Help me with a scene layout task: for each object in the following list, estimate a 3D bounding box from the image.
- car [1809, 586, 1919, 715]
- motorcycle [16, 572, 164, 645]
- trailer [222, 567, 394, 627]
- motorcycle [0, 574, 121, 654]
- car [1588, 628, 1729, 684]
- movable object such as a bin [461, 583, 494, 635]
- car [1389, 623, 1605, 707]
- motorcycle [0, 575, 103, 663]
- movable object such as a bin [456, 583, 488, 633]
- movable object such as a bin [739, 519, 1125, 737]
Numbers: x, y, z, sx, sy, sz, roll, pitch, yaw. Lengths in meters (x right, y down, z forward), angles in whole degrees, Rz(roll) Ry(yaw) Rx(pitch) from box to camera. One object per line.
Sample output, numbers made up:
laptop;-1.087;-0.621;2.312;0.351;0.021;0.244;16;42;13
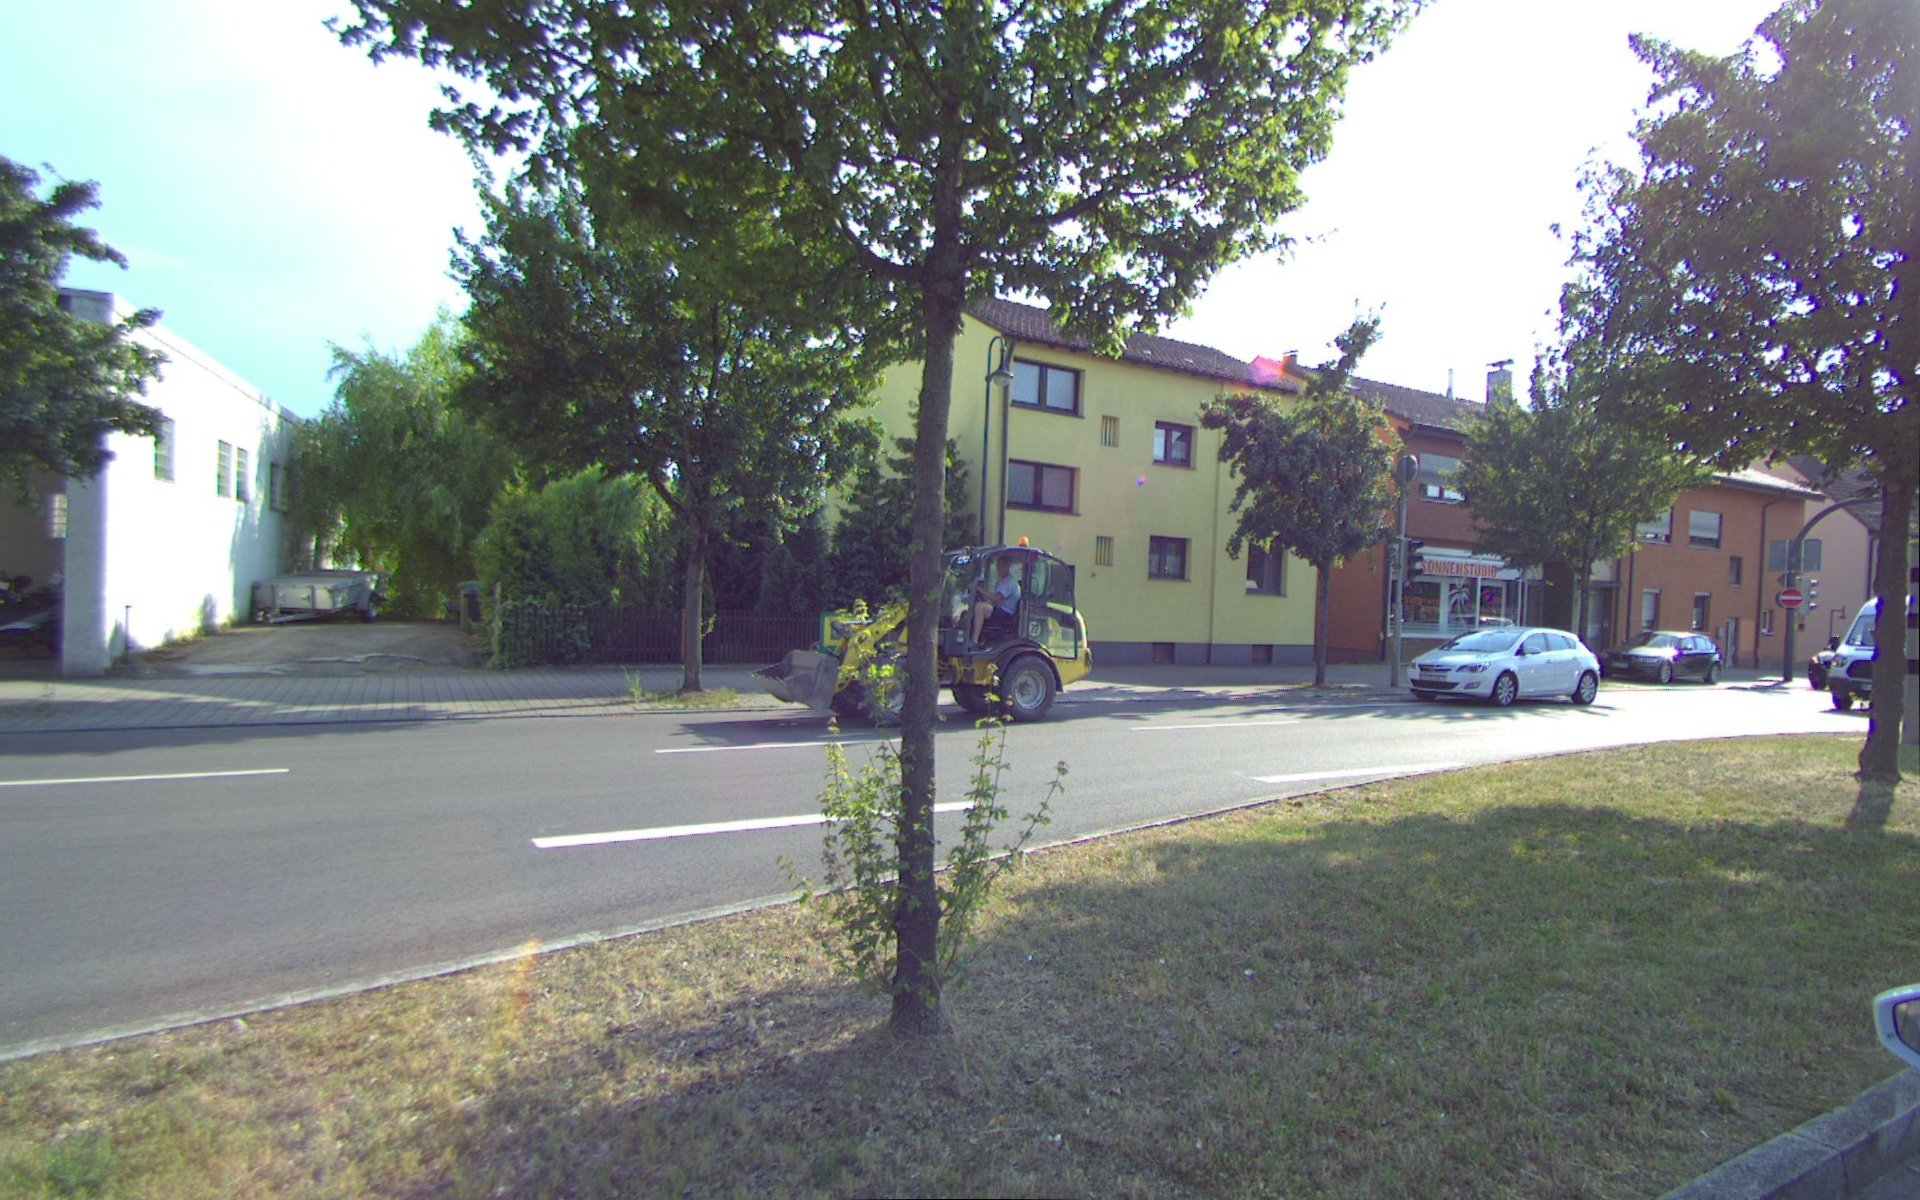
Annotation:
car;20.643;1.043;21.482;5.414;2.508;2.075;2;0;-30
motorcycle;-16.627;0.150;19.261;0.516;1.318;2.088;2;1;33
trailer;-14.120;-0.086;21.994;2.131;1.127;3.358;2;1;-14
motorcycle;-15.719;0.227;17.136;0.516;1.318;2.088;2;1;33
car;20.161;1.593;28.983;3.893;1.433;1.788;2;0;-29
movable object such as a bin;-10.190;0.191;21.215;0.582;1.083;0.538;2;0;-27
car;10.442;1.215;19.487;4.162;1.433;1.684;2;0;-29
motorcycle;-14.544;0.285;15.390;0.516;1.318;2.088;2;1;33
movable object such as a bin;-10.709;0.179;22.037;0.582;1.083;0.538;2;0;-27
movable object such as a bin;-0.284;0.384;13.363;4.916;2.494;1.546;2;0;-28
